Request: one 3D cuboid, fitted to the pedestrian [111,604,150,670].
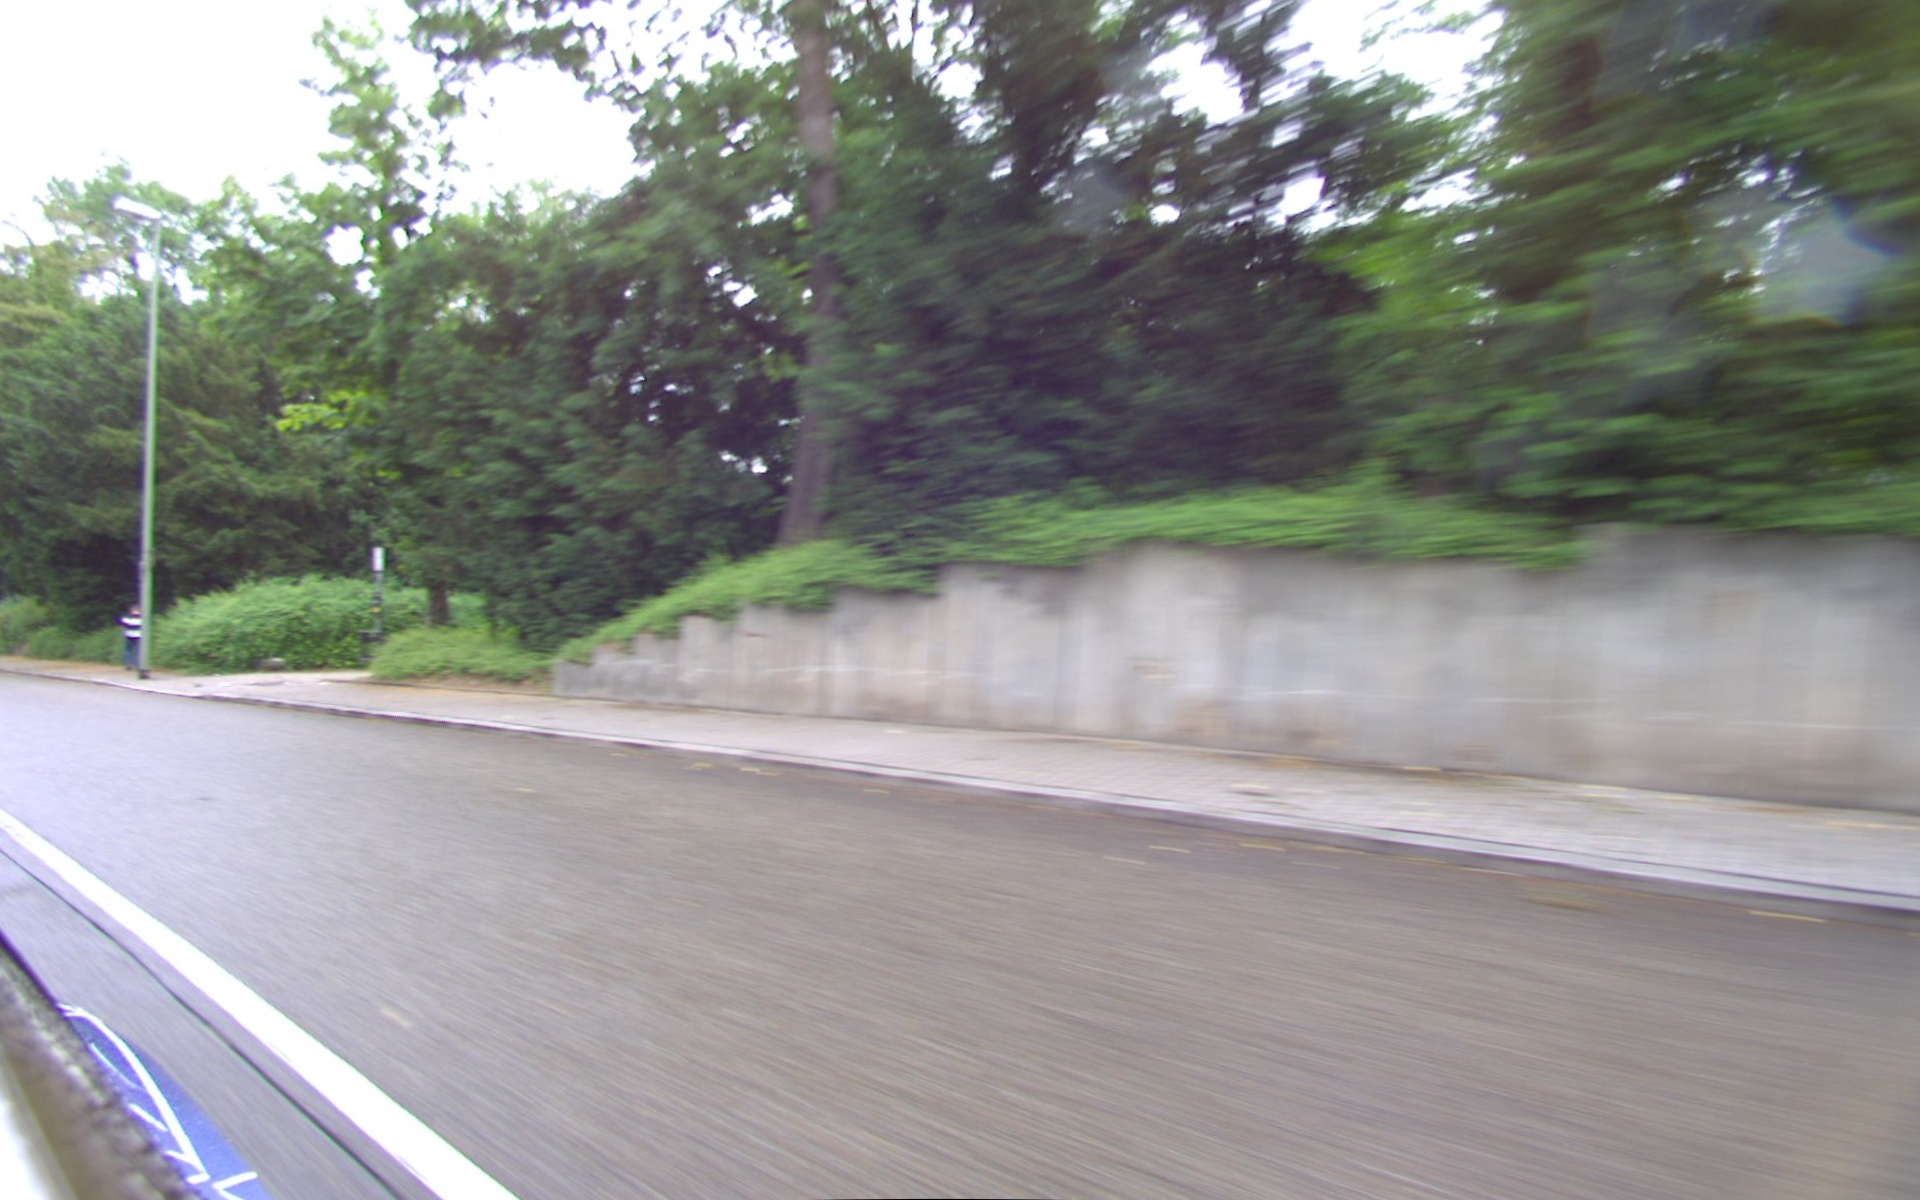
[{"bbox_3d":[-21.345,0.939,26.051,0.714,1.656,0.698,-1,-1,44],"label":"pedestrian"}]
